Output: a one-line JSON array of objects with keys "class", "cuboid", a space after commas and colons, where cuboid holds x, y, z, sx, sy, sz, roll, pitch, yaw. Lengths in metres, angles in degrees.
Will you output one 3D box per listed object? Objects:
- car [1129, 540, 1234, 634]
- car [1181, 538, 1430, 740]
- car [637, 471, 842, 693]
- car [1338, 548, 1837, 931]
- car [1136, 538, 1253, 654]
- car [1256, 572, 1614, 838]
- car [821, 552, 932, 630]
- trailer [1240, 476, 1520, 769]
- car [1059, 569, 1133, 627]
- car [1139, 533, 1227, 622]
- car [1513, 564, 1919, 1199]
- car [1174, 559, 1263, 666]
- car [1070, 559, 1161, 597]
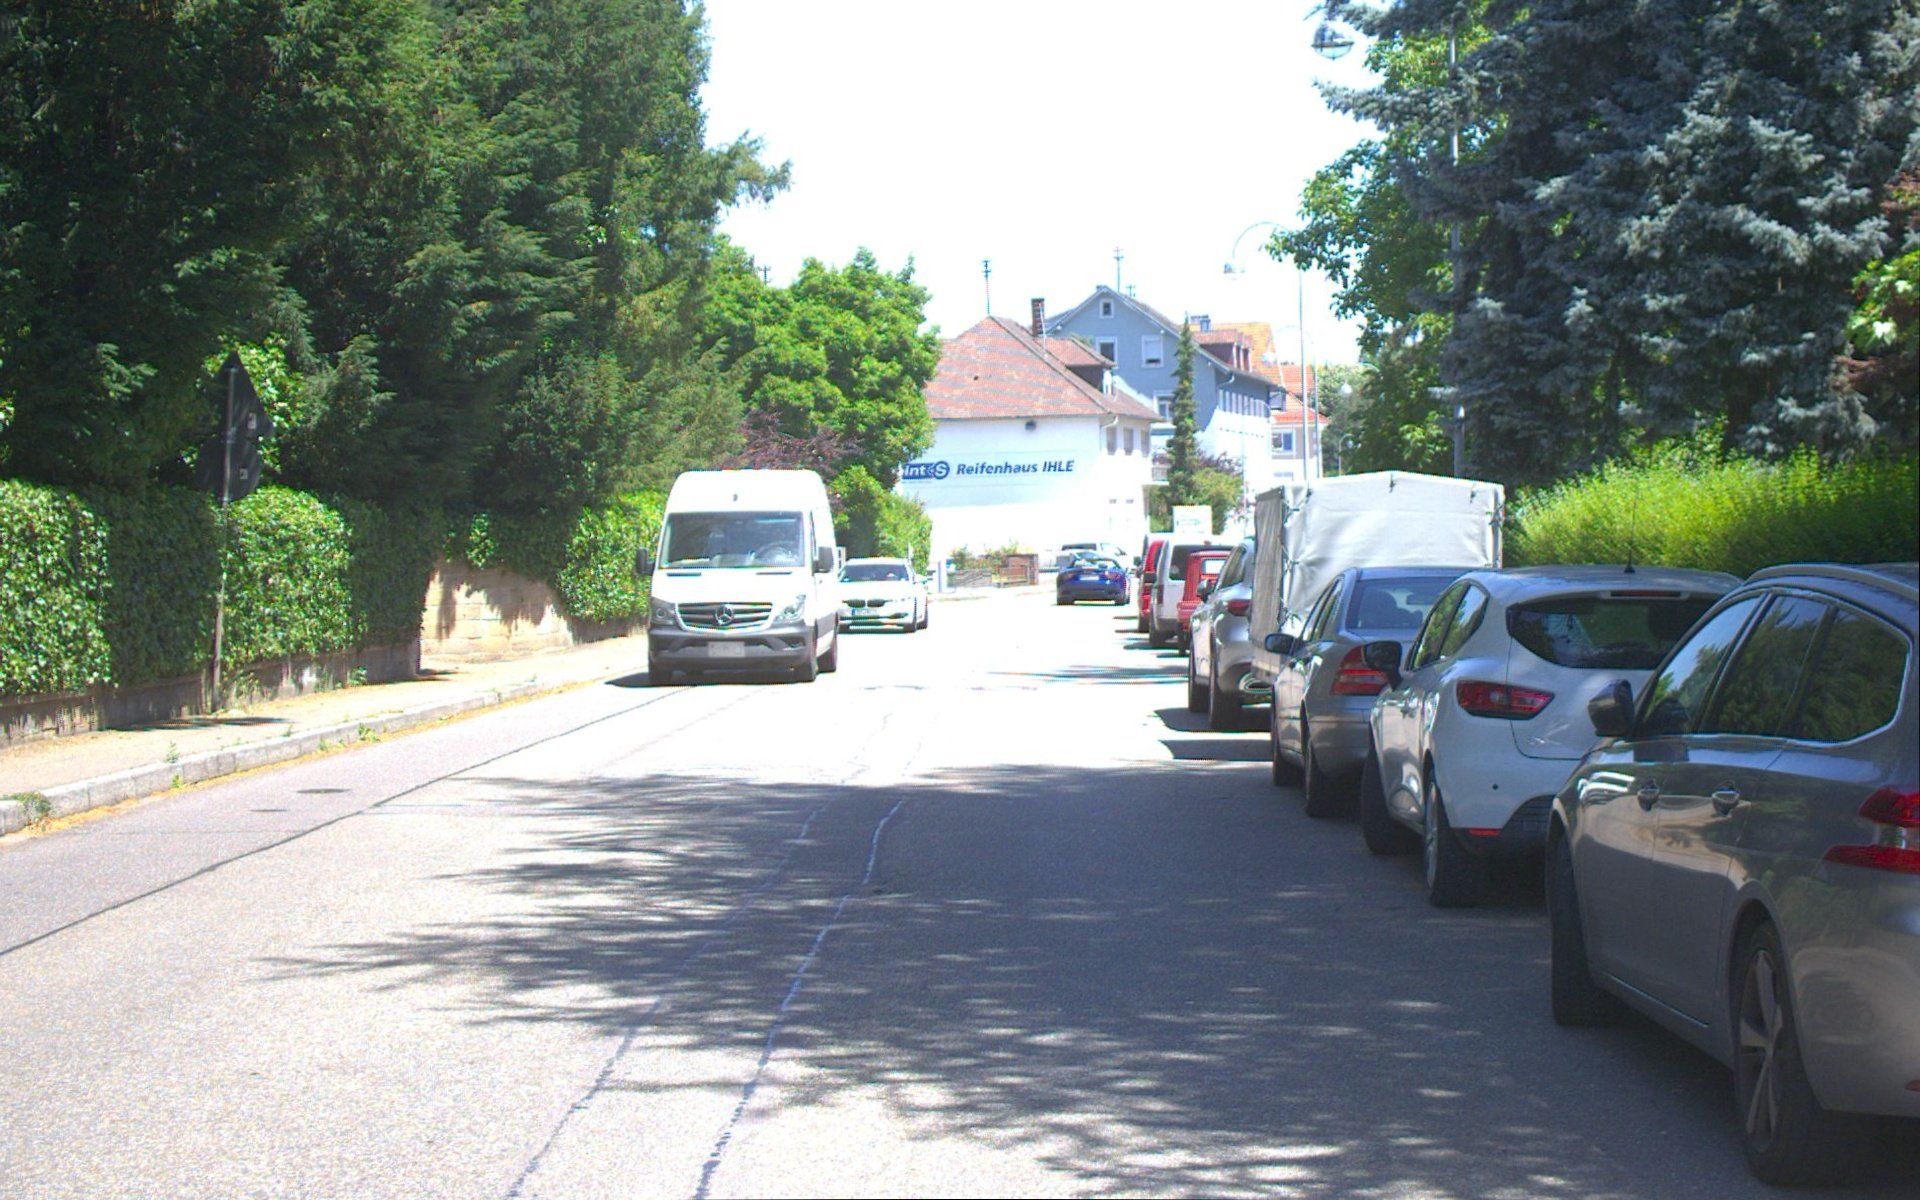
[{"class": "car", "cuboid": [4.167, -0.279, 65.003, 1.903, 1.722, 4.391, 0, 1, 3]}, {"class": "car", "cuboid": [3.000, 0.281, 30.706, 1.771, 1.626, 4.605, 0, 2, 0]}, {"class": "car", "cuboid": [-2.633, -0.248, 42.408, 1.993, 2.524, 5.894, -1, 1, 1]}, {"class": "car", "cuboid": [2.727, 0.528, 15.751, 1.614, 1.464, 4.064, -1, 1, 1]}, {"class": "car", "cuboid": [3.730, -0.105, 55.306, 1.746, 1.776, 4.543, 0, 1, 2]}, {"class": "car", "cuboid": [2.714, 0.541, 20.455, 1.614, 1.391, 4.259, 0, 1, 1]}, {"class": "car", "cuboid": [-1.593, -0.204, 67.201, 1.864, 1.379, 4.604, -1, 2, 2]}, {"class": "trailer", "cuboid": [3.113, 0.109, 26.102, 1.680, 2.061, 3.708, 0, 2, 0]}, {"class": "car", "cuboid": [3.812, -0.069, 95.625, 1.794, 1.505, 3.999, 1, 2, 6]}, {"class": "car", "cuboid": [5.093, -0.541, 78.717, 1.903, 1.918, 4.718, -1, 1, 3]}, {"class": "car", "cuboid": [2.633, 0.646, 9.208, 1.614, 1.446, 4.375, 1, 0, 0]}, {"class": "car", "cuboid": [3.775, 0.164, 50.329, 1.261, 1.490, 2.708, 0, 1, 4]}, {"class": "car", "cuboid": [7.288, -1.023, 161.136, 4.130, 1.768, 1.828, 0, 0, 8]}]
